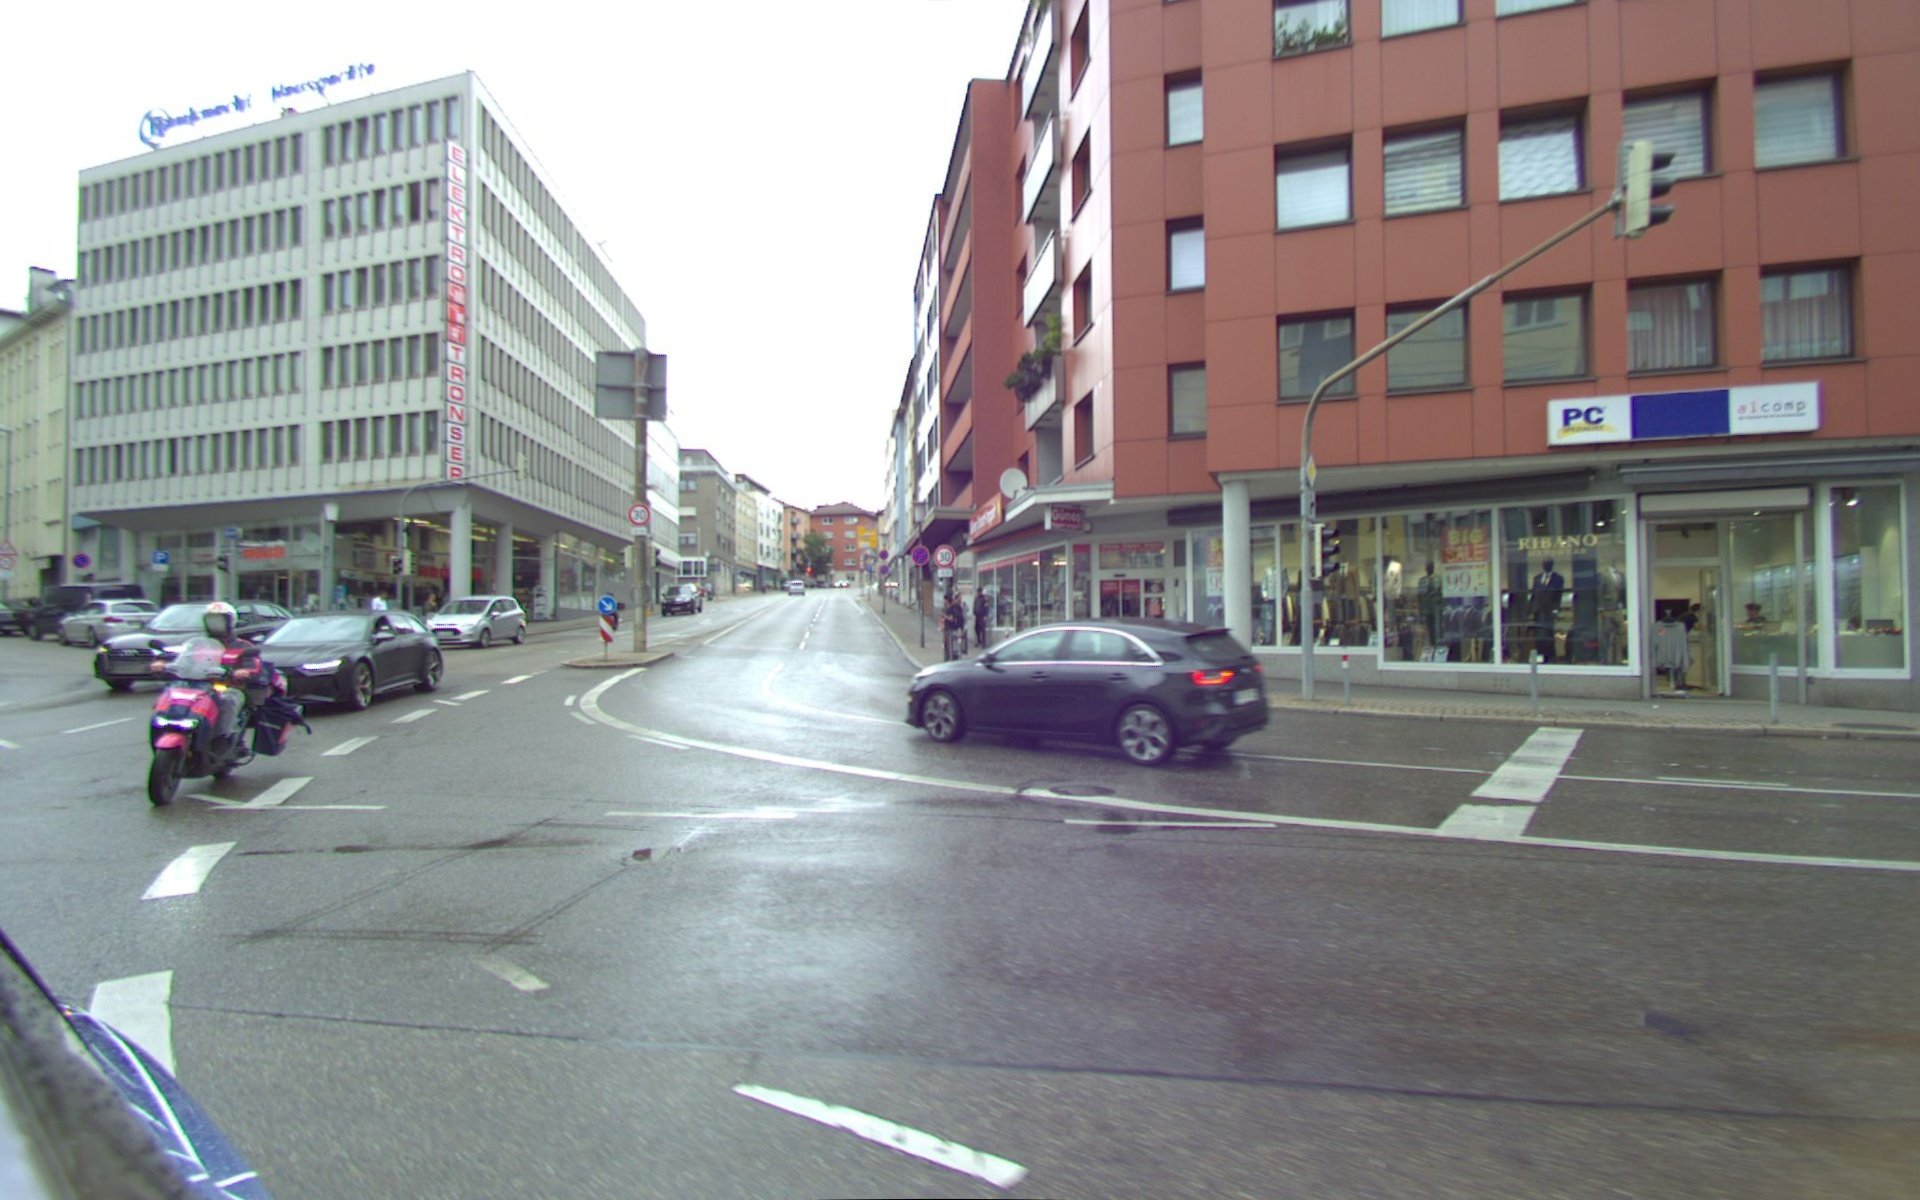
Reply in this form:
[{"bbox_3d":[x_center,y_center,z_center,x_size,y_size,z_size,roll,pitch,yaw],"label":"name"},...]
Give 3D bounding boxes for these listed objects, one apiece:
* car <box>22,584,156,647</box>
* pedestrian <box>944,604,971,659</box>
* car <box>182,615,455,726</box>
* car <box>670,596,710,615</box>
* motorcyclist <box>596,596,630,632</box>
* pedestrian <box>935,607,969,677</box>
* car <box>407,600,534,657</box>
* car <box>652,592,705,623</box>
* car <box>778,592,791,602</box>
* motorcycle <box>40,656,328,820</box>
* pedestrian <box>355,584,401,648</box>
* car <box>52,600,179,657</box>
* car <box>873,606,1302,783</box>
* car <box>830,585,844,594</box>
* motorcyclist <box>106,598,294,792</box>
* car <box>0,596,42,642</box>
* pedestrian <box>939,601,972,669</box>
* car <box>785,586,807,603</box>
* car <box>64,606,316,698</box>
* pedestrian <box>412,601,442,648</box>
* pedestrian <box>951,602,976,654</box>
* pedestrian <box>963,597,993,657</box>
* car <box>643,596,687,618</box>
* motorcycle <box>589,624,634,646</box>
[{"bbox_3d":[-31.066,0.545,36.101,4.592,2.106,2.078,-1,0,28],"label":"car"},{"bbox_3d":[-0.077,0.955,31.077,0.683,1.642,0.734,-1,0,-7],"label":"pedestrian"},{"bbox_3d":[-10.005,0.996,16.314,1.968,1.502,4.743,0,-1,-8],"label":"car"},{"bbox_3d":[-28.599,0.567,107.238,3.935,2.029,2.004,0,0,-10],"label":"car"},{"bbox_3d":[-14.152,0.569,41.259,0.901,1.453,1.111,0,-1,9],"label":"motorcyclist"},{"bbox_3d":[-0.205,1.059,26.028,0.721,1.761,0.744,-1,0,-10],"label":"pedestrian"},{"bbox_3d":[-15.012,0.831,31.289,1.972,1.596,4.104,-1,0,0],"label":"car"},{"bbox_3d":[-15.884,0.386,57.313,1.971,1.696,4.001,0,0,-2],"label":"car"},{"bbox_3d":[-26.258,-0.456,151.348,1.606,1.383,3.451,-1,0,-4],"label":"car"},{"bbox_3d":[-6.734,1.131,9.012,1.292,1.144,2.191,0,0,-15],"label":"motorcycle"},{"bbox_3d":[-18.848,0.520,32.782,0.945,2.029,0.983,0,-1,34],"label":"pedestrian"},{"bbox_3d":[-26.869,0.882,32.158,4.604,1.643,1.979,-1,0,36],"label":"car"},{"bbox_3d":[1.306,0.899,11.324,4.372,1.563,1.975,-1,0,38],"label":"car"},{"bbox_3d":[-21.162,-1.772,174.186,1.803,1.447,3.856,-1,0,0],"label":"car"},{"bbox_3d":[-6.759,0.793,9.068,1.075,1.617,0.956,0,0,-16],"label":"motorcyclist"},{"bbox_3d":[-38.708,0.761,40.470,4.603,1.763,2.003,-1,0,35],"label":"car"},{"bbox_3d":[-0.129,0.928,27.041,0.721,1.761,0.701,-1,0,-10],"label":"pedestrian"},{"bbox_3d":[-17.960,-0.560,110.801,1.970,1.751,4.003,-1,0,-3],"label":"car"},{"bbox_3d":[-14.822,0.927,19.814,1.846,1.559,4.104,-1,0,0],"label":"car"},{"bbox_3d":[-18.860,0.851,35.807,0.723,1.635,0.706,-1,-1,38],"label":"pedestrian"},{"bbox_3d":[0.101,0.899,32.745,0.683,1.642,0.734,-1,0,-7],"label":"pedestrian"},{"bbox_3d":[0.550,0.821,31.028,0.722,1.760,0.695,-4,0,-6],"label":"pedestrian"},{"bbox_3d":[-28.076,0.661,96.326,3.934,1.971,1.751,0,0,-12],"label":"car"},{"bbox_3d":[-14.163,1.399,41.198,0.704,0.848,2.388,0,-1,10],"label":"motorcycle"}]
